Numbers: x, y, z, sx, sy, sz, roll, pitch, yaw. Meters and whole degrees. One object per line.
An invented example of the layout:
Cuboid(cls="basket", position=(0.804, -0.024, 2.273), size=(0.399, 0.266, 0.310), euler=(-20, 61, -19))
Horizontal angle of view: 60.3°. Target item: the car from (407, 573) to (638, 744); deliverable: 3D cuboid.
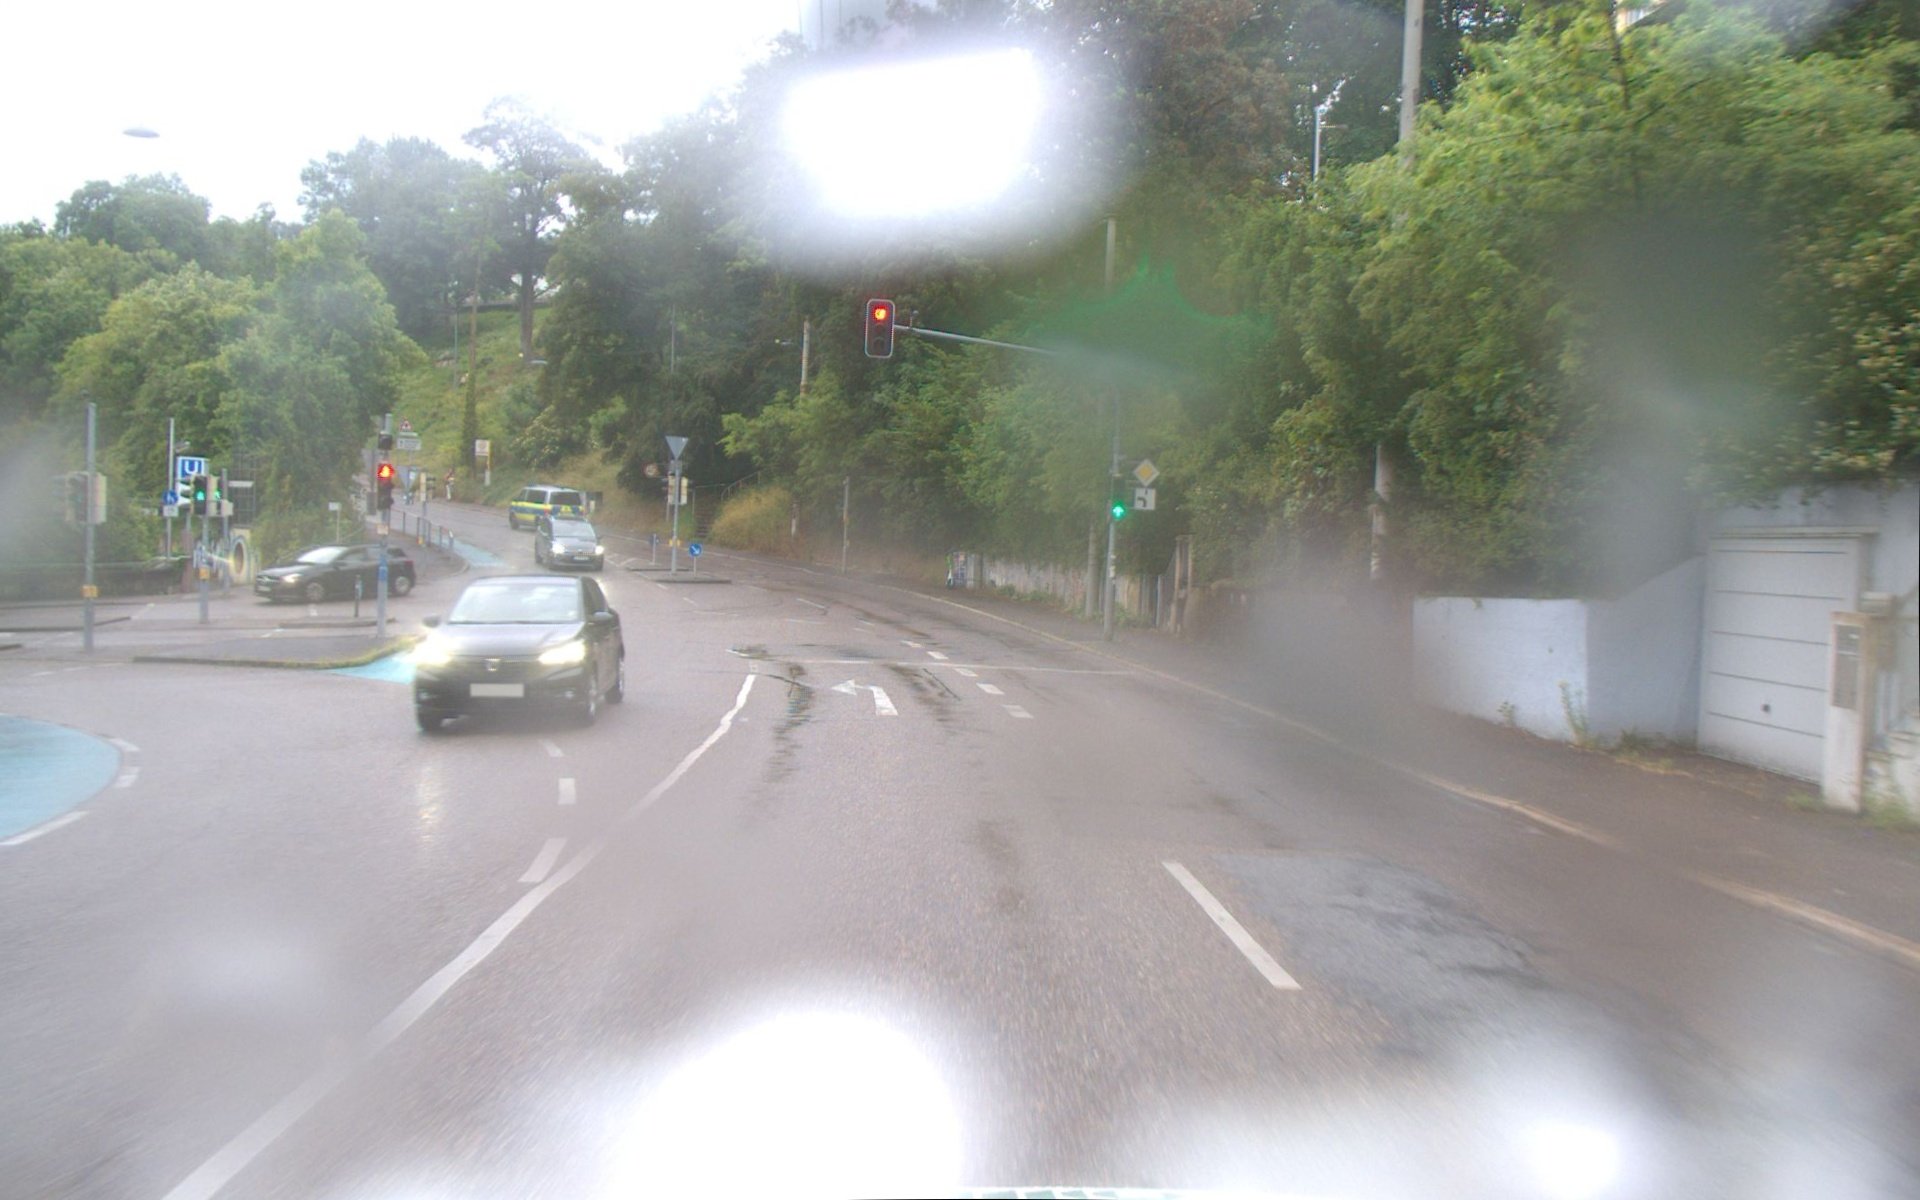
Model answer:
Cuboid(cls="car", position=(-4.531, 0.515, 17.667), size=(1.707, 1.577, 3.996), euler=(-1, 1, -5))

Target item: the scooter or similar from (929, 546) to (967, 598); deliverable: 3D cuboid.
Cuboid(cls="scooter or similar", position=(-0.381, -0.867, 50.784), size=(0.606, 1.446, 2.151), euler=(-1, 5, -16))

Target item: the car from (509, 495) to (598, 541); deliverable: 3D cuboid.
Cuboid(cls="car", position=(-18.073, -3.652, 73.423), size=(2.293, 1.972, 4.267), euler=(-3, 4, -38))

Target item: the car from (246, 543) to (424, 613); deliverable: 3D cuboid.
Cuboid(cls="car", position=(-16.184, -0.613, 42.976), size=(1.715, 1.576, 3.979), euler=(3, 5, 40))

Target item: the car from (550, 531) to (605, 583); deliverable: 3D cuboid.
Cuboid(cls="car", position=(-13.030, -1.495, 56.206), size=(1.712, 1.576, 3.986), euler=(-1, 4, -15))
